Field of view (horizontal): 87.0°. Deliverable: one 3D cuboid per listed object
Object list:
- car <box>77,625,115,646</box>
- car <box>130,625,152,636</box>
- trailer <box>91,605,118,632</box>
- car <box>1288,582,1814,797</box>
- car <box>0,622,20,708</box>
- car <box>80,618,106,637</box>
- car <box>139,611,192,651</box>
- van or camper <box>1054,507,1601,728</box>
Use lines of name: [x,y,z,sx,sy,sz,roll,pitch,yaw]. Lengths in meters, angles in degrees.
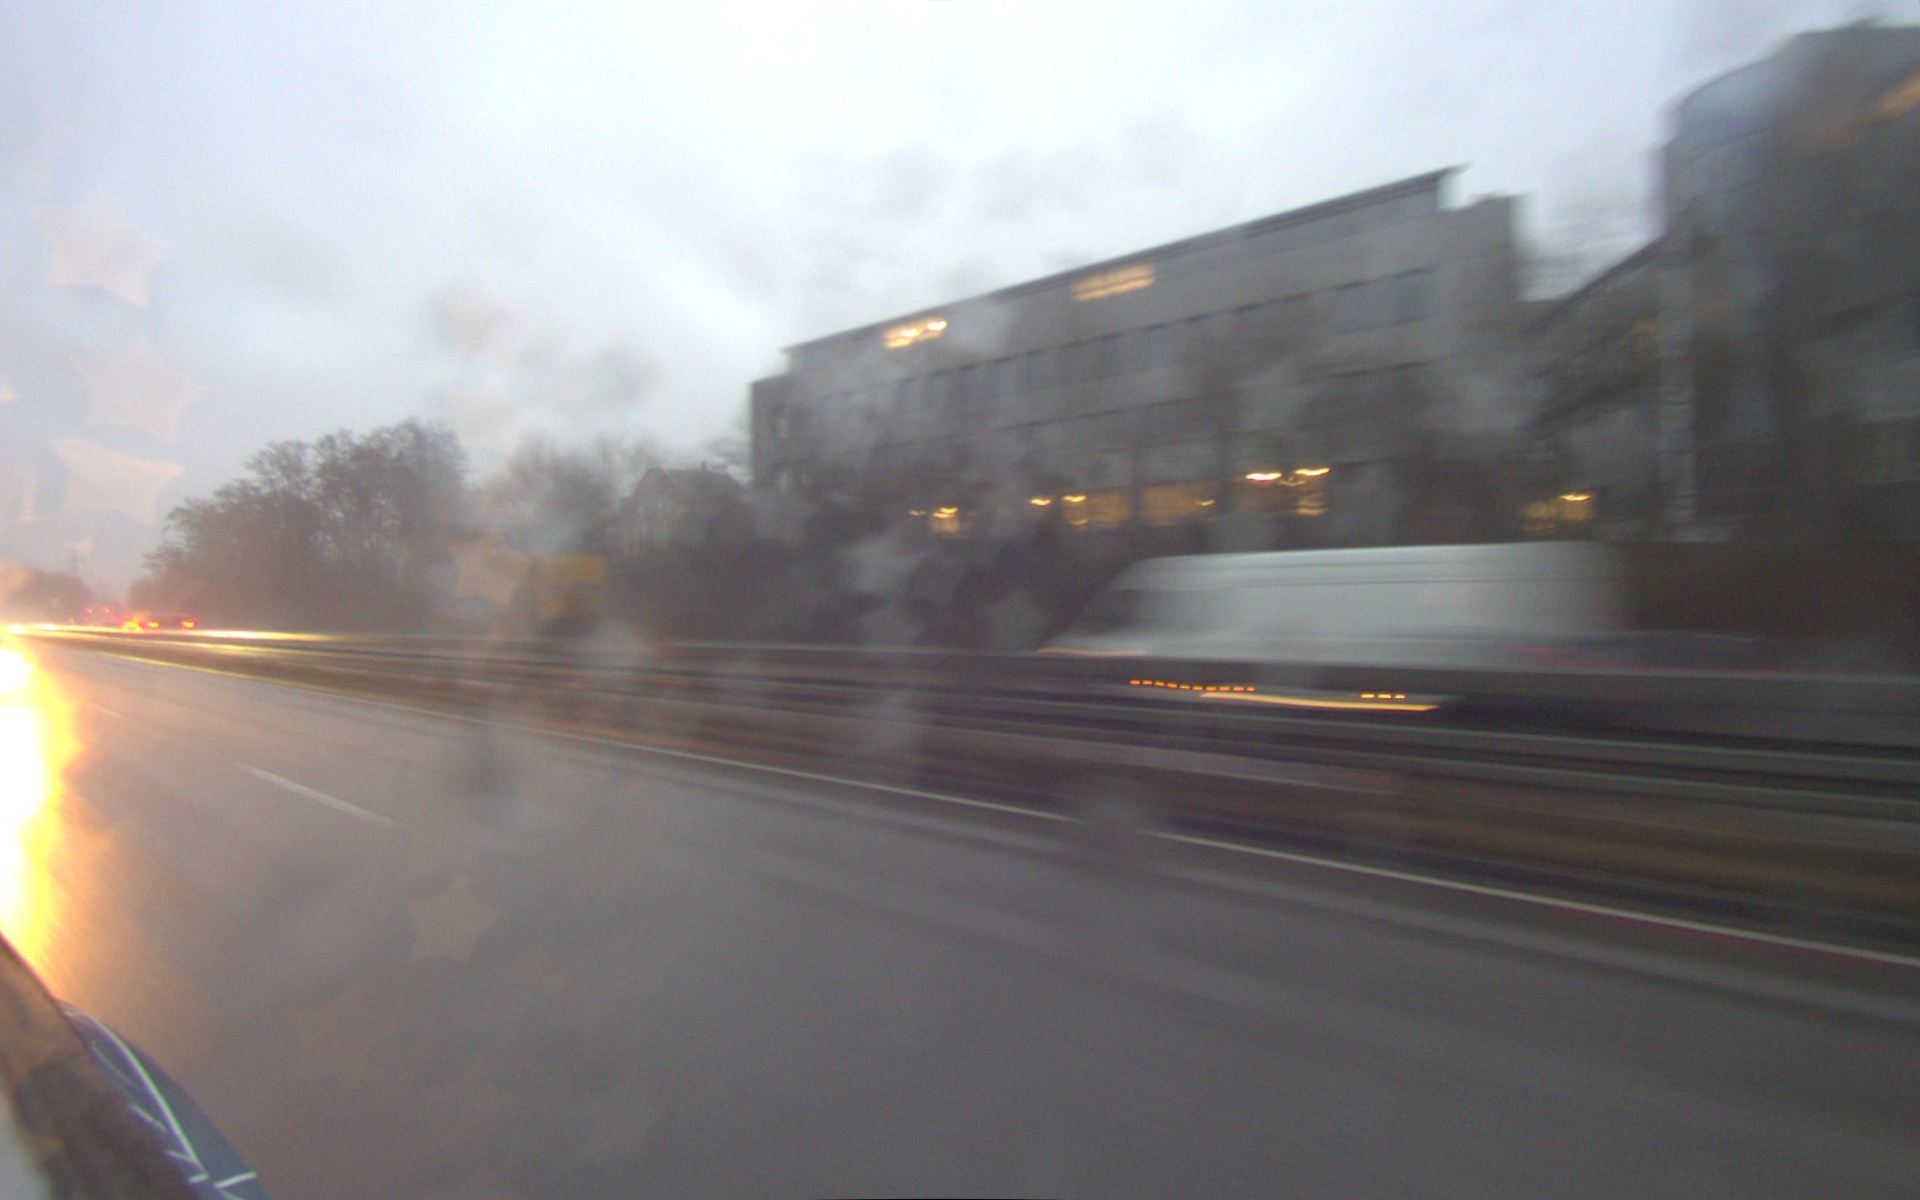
car: [-71.694,2.905,83.947,4.667,1.669,1.822,-2,-1,42]
car: [-97.869,3.633,120.914,4.688,1.281,1.528,-1,1,44]
trailer: [-165.766,3.548,196.120,3.448,4.883,13.497,-3,1,-42]
car: [5.425,0.696,9.601,4.000,1.563,1.762,-1,1,43]
car: [-19.416,1.214,19.404,1.925,1.532,4.791,1,-2,-44]
car: [-138.443,4.351,161.586,6.342,2.751,2.499,-1,1,44]
car: [-47.582,1.842,60.570,1.952,2.299,5.052,0,-1,-45]
van or camper: [5.025,0.232,15.096,7.402,2.590,2.054,-1,1,42]
